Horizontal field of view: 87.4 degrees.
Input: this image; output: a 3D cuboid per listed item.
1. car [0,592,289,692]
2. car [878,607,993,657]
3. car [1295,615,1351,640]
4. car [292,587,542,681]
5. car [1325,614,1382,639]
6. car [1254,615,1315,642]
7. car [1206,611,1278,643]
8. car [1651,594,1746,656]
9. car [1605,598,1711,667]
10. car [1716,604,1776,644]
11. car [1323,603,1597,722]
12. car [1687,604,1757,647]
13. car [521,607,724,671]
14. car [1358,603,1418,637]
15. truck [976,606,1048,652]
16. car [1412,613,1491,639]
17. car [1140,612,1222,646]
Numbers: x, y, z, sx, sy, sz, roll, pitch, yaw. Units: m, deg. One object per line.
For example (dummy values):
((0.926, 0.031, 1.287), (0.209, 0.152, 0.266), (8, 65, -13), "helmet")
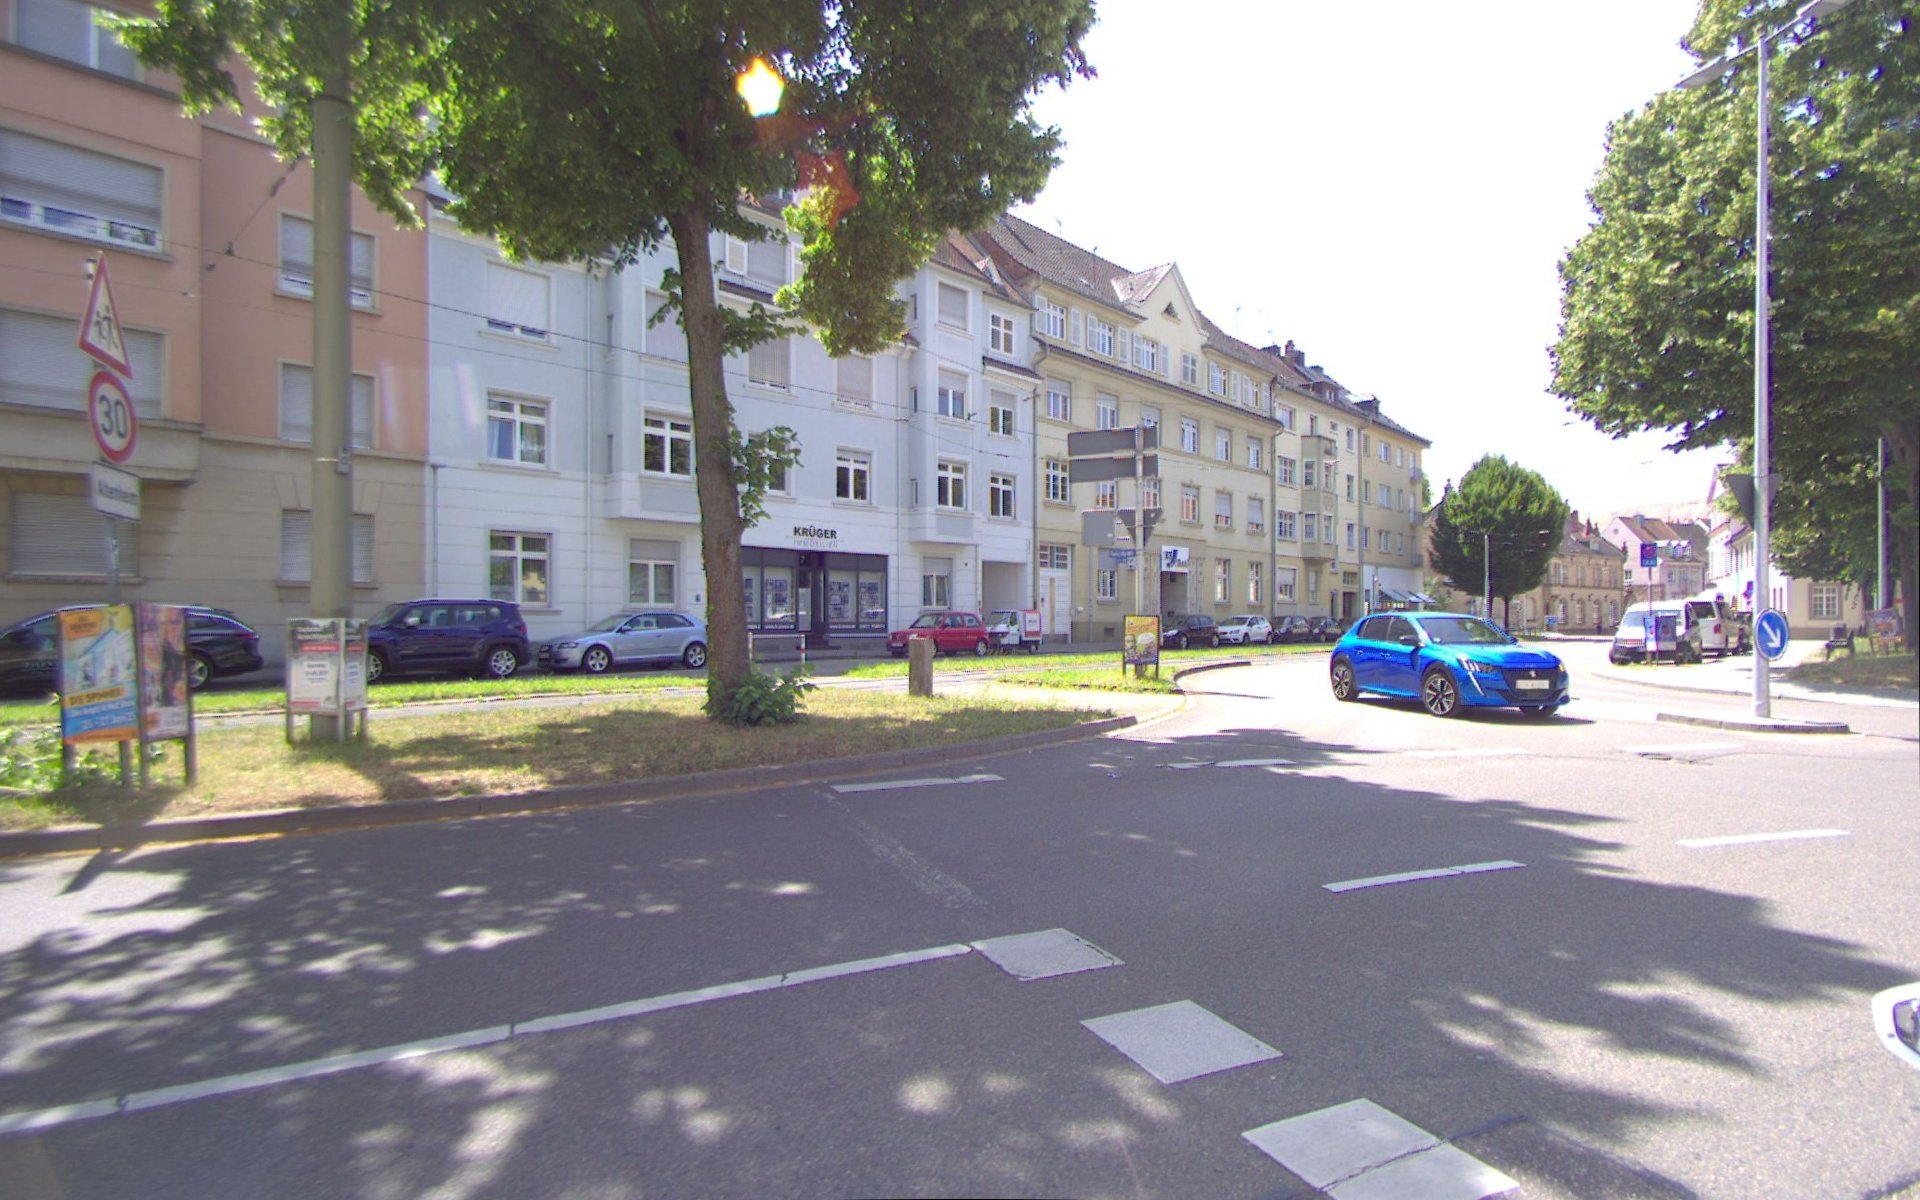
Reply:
((-14.196, 0.677, 16.647), (1.907, 1.510, 4.835), (-3, -2, 43), "car")
((-0.731, 0.994, 31.614), (1.554, 1.470, 3.605), (-3, -2, 43), "car")
((19.508, 1.453, 53.889), (1.585, 1.294, 3.566), (-3, -2, 43), "car")
((-10.923, 0.665, 20.405), (1.816, 1.708, 4.119), (-3, -2, 42), "car")
((22.392, 1.489, 57.082), (1.624, 1.294, 4.240), (-3, -2, 42), "car")
((16.262, 1.419, 50.278), (1.668, 1.294, 3.270), (-3, -2, 43), "car")
((13.172, 1.240, 46.803), (1.668, 1.408, 3.836), (-3, -2, 43), "car")
((26.009, 0.831, 35.280), (2.028, 2.029, 5.216), (0, 0, 44), "car")
((20.306, 0.891, 29.161), (1.972, 1.851, 4.397), (0, 0, 42), "car")
((35.809, 1.069, 45.723), (1.764, 1.716, 4.174), (0, 0, 44), "car")
((7.243, 0.815, 15.061), (1.782, 1.512, 3.995), (0, 0, -7), "car")
((30.780, 1.007, 40.523), (1.764, 1.645, 4.458), (0, 0, 44), "car")
((-7.907, 0.889, 23.799), (1.788, 1.374, 4.226), (-3, -2, 42), "car")
((25.890, 1.220, 60.704), (1.833, 1.936, 4.744), (-3, -2, 42), "car")
((1.835, 0.992, 34.787), (1.113, 1.514, 2.581), (-3, -2, 41), "truck")
((31.114, 1.652, 63.595), (4.153, 1.524, 1.995), (-3, -2, 40), "car")
((9.435, 1.216, 42.735), (1.668, 1.378, 3.836), (-3, -2, 43), "car")
